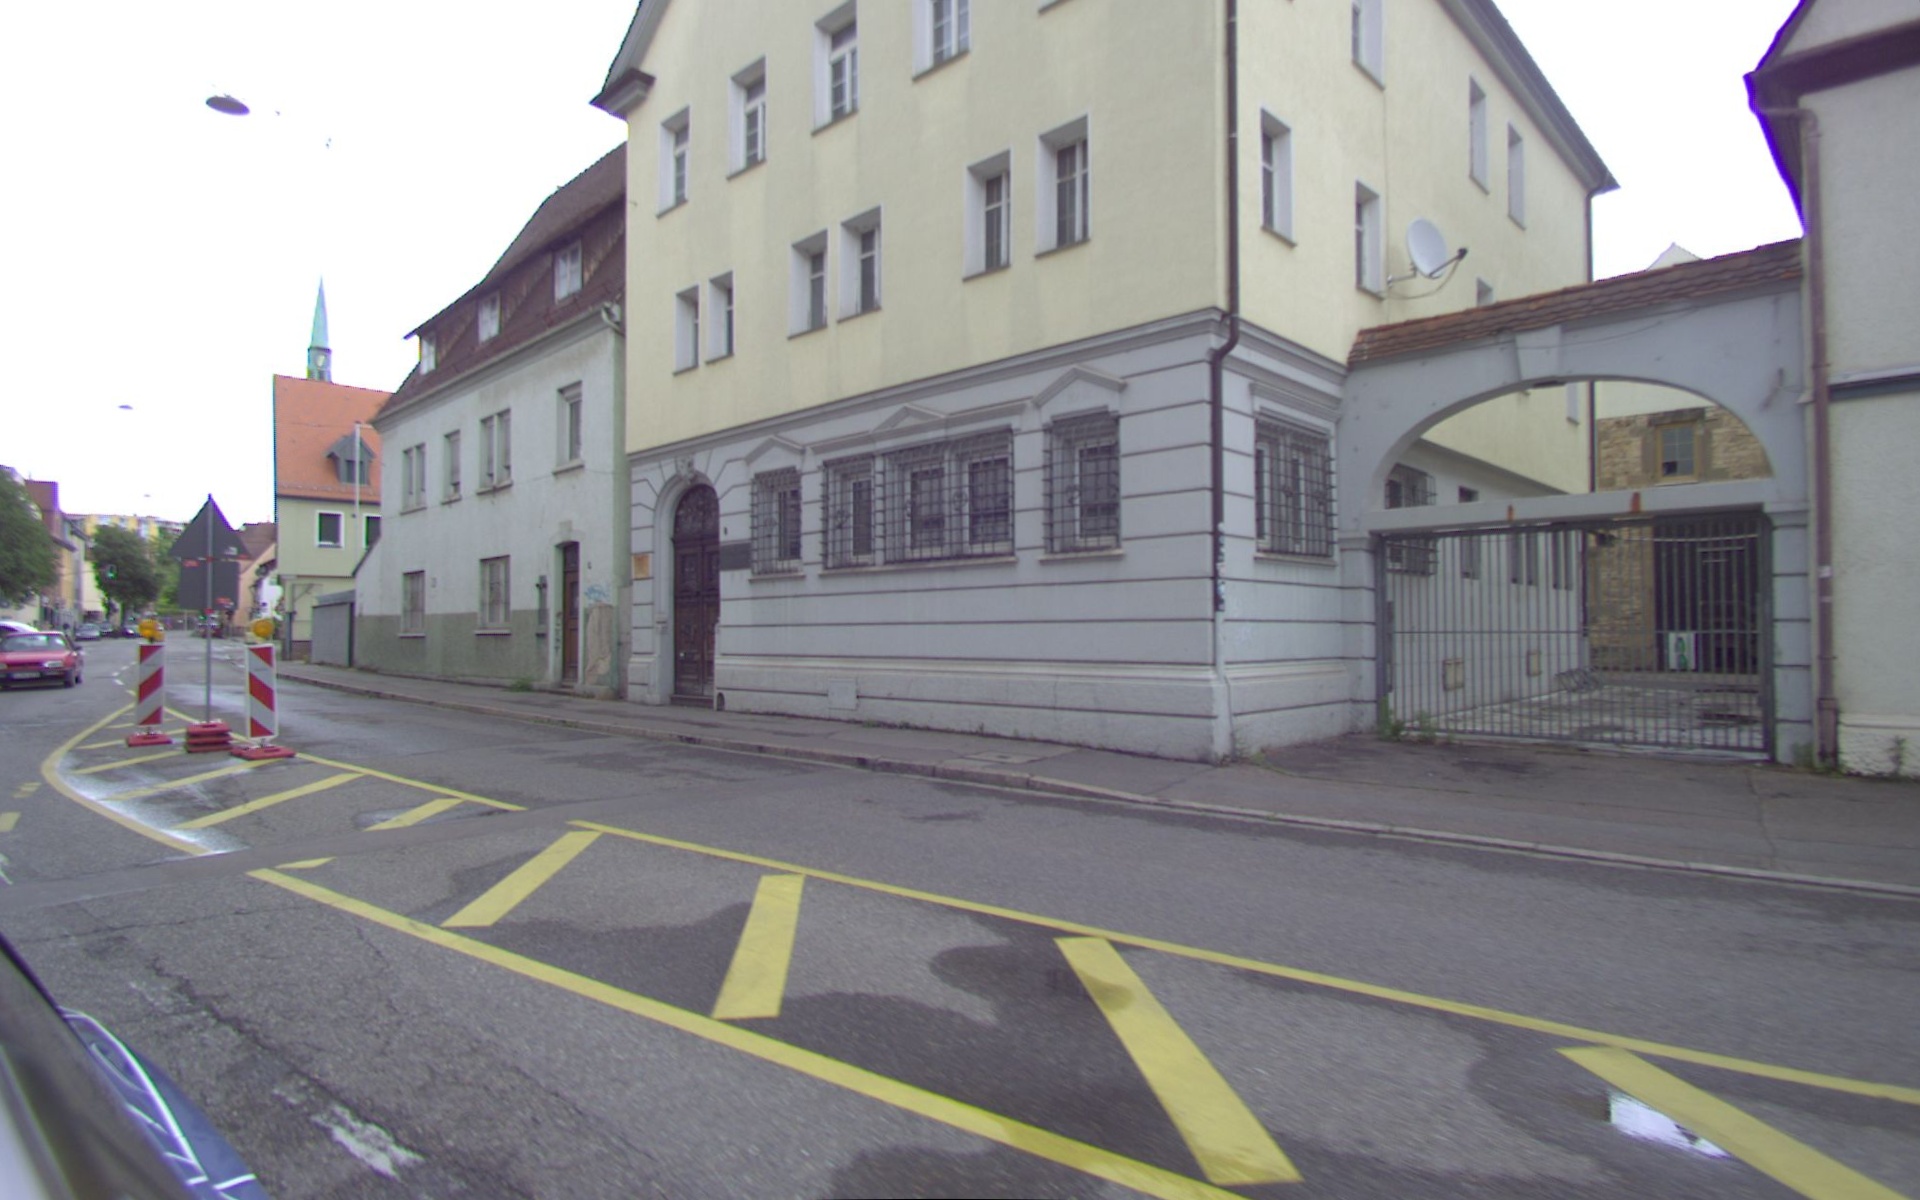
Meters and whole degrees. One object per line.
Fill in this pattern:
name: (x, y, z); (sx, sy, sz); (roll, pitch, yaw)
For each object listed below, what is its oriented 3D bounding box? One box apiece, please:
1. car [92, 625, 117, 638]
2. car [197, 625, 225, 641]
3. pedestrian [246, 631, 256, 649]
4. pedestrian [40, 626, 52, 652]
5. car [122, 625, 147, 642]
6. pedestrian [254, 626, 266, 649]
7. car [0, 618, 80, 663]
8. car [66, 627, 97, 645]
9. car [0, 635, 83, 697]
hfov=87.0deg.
car: (-94.555, 3.430, 111.910); (1.793, 1.399, 4.009); (2, -2, -36)
car: (-84.111, 3.704, 113.625); (2.179, 1.690, 4.506); (2, -3, -40)
pedestrian: (-64.955, 3.675, 92.720); (0.627, 1.618, 0.713); (2, -3, -38)
pedestrian: (-77.691, 3.320, 86.031); (0.650, 2.131, 0.647); (3, -4, -40)
car: (-85.585, 3.464, 104.934); (1.968, 1.691, 4.008); (1, -1, -38)
pedestrian: (-64.314, 3.464, 92.975); (0.747, 2.138, 0.784); (2, -4, -38)
car: (-39.901, 1.679, 42.187); (4.390, 1.801, 2.006); (1, -2, -18)
car: (-81.828, 3.345, 94.294); (2.002, 1.567, 4.007); (2, -3, -39)
car: (-23.274, 1.634, 25.365); (1.659, 1.438, 4.029); (1, -3, -37)
